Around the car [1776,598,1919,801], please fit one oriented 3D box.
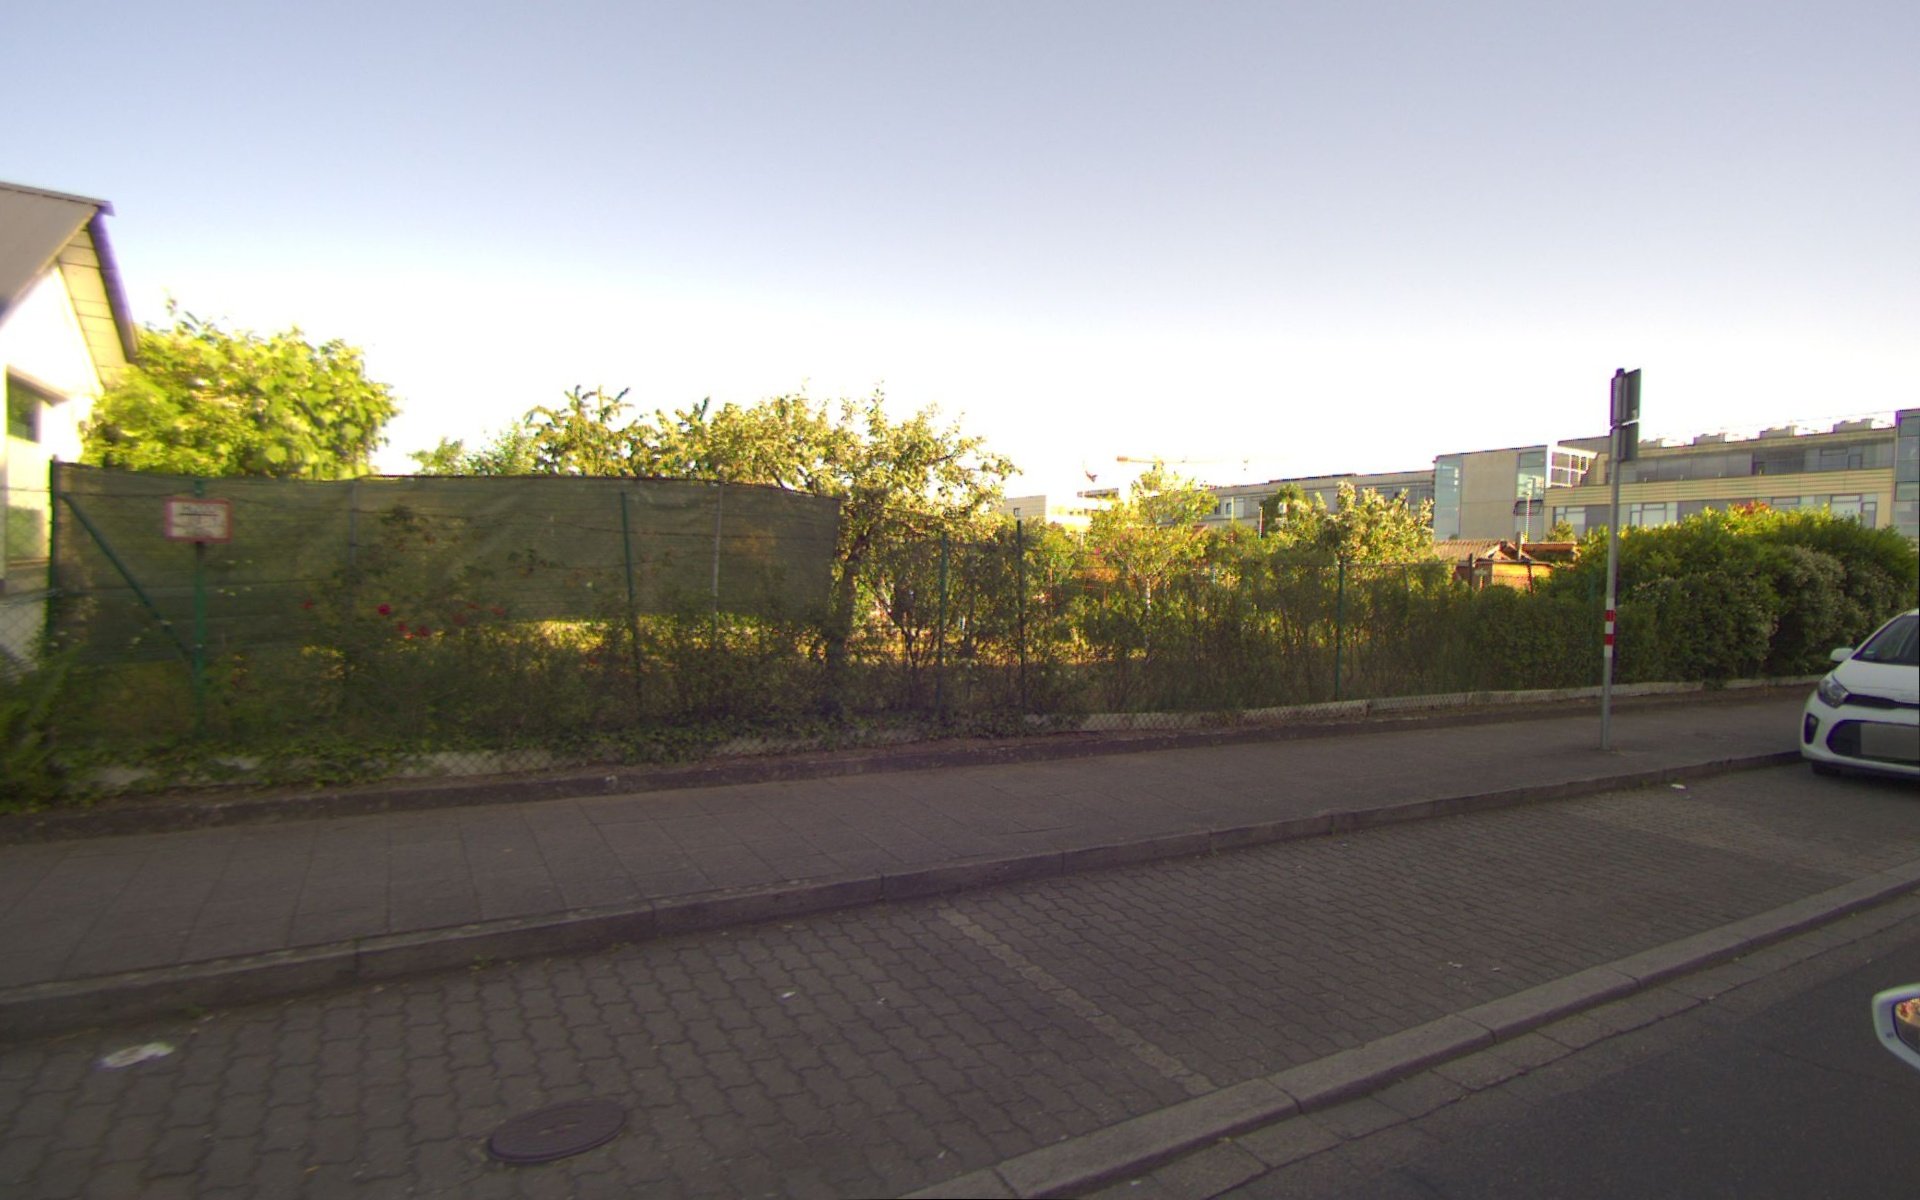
[{"bbox_3d":[8.818,0.792,8.667,3.715,1.515,1.552,1,1,-31],"label":"car"}]
